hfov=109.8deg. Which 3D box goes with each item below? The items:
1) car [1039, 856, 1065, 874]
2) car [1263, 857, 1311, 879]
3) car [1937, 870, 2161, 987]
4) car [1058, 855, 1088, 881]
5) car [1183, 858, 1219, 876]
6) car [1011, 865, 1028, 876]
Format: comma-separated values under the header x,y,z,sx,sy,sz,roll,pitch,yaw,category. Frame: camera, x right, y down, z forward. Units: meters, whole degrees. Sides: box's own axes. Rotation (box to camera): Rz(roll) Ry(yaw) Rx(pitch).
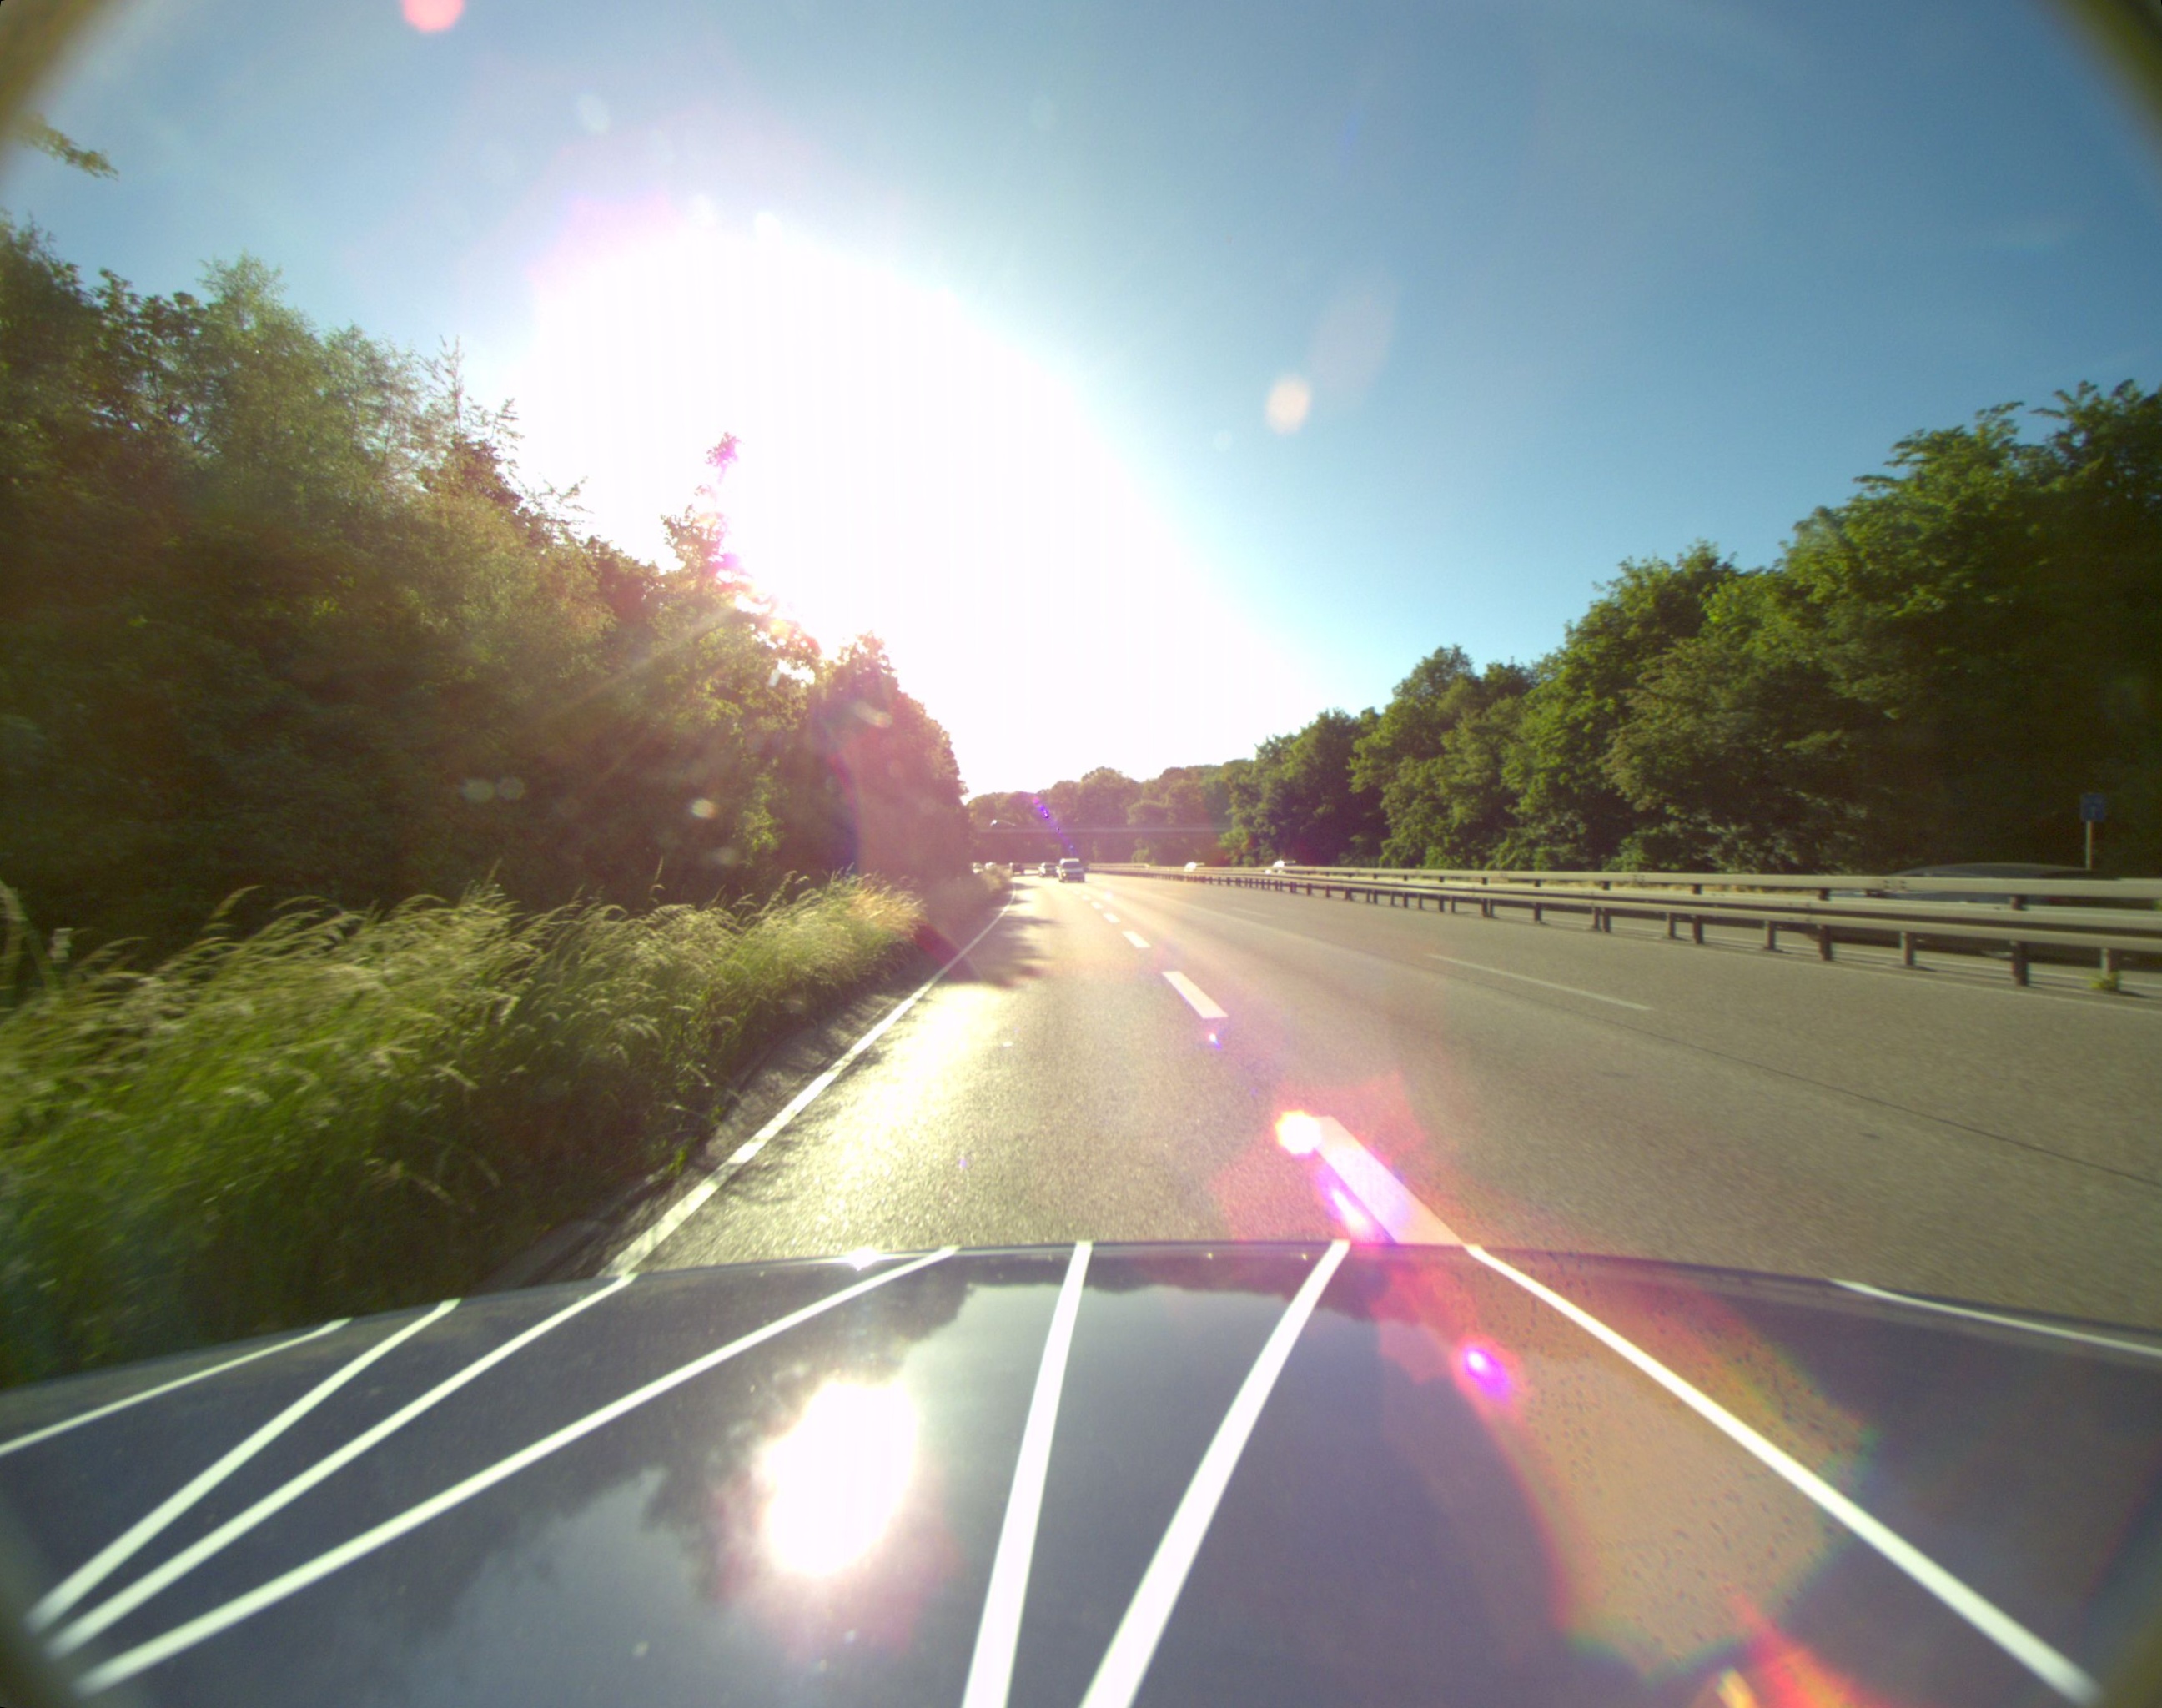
x,y,z,sx,sy,sz,roll,pitch,yaw,category
-3.114,1.152,80.367,2.258,1.842,5.138,-1,0,-9,car
15.730,1.054,58.234,2.000,1.640,4.420,-1,0,-7,car
14.685,0.975,10.247,1.737,1.423,4.000,-1,0,-1,car
-0.676,1.056,59.650,1.801,1.796,4.829,-2,1,-7,car
10.780,1.148,68.749,2.000,1.504,4.420,-2,0,-8,car
-9.207,2.391,113.315,1.936,1.499,5.080,-1,1,-11,car
